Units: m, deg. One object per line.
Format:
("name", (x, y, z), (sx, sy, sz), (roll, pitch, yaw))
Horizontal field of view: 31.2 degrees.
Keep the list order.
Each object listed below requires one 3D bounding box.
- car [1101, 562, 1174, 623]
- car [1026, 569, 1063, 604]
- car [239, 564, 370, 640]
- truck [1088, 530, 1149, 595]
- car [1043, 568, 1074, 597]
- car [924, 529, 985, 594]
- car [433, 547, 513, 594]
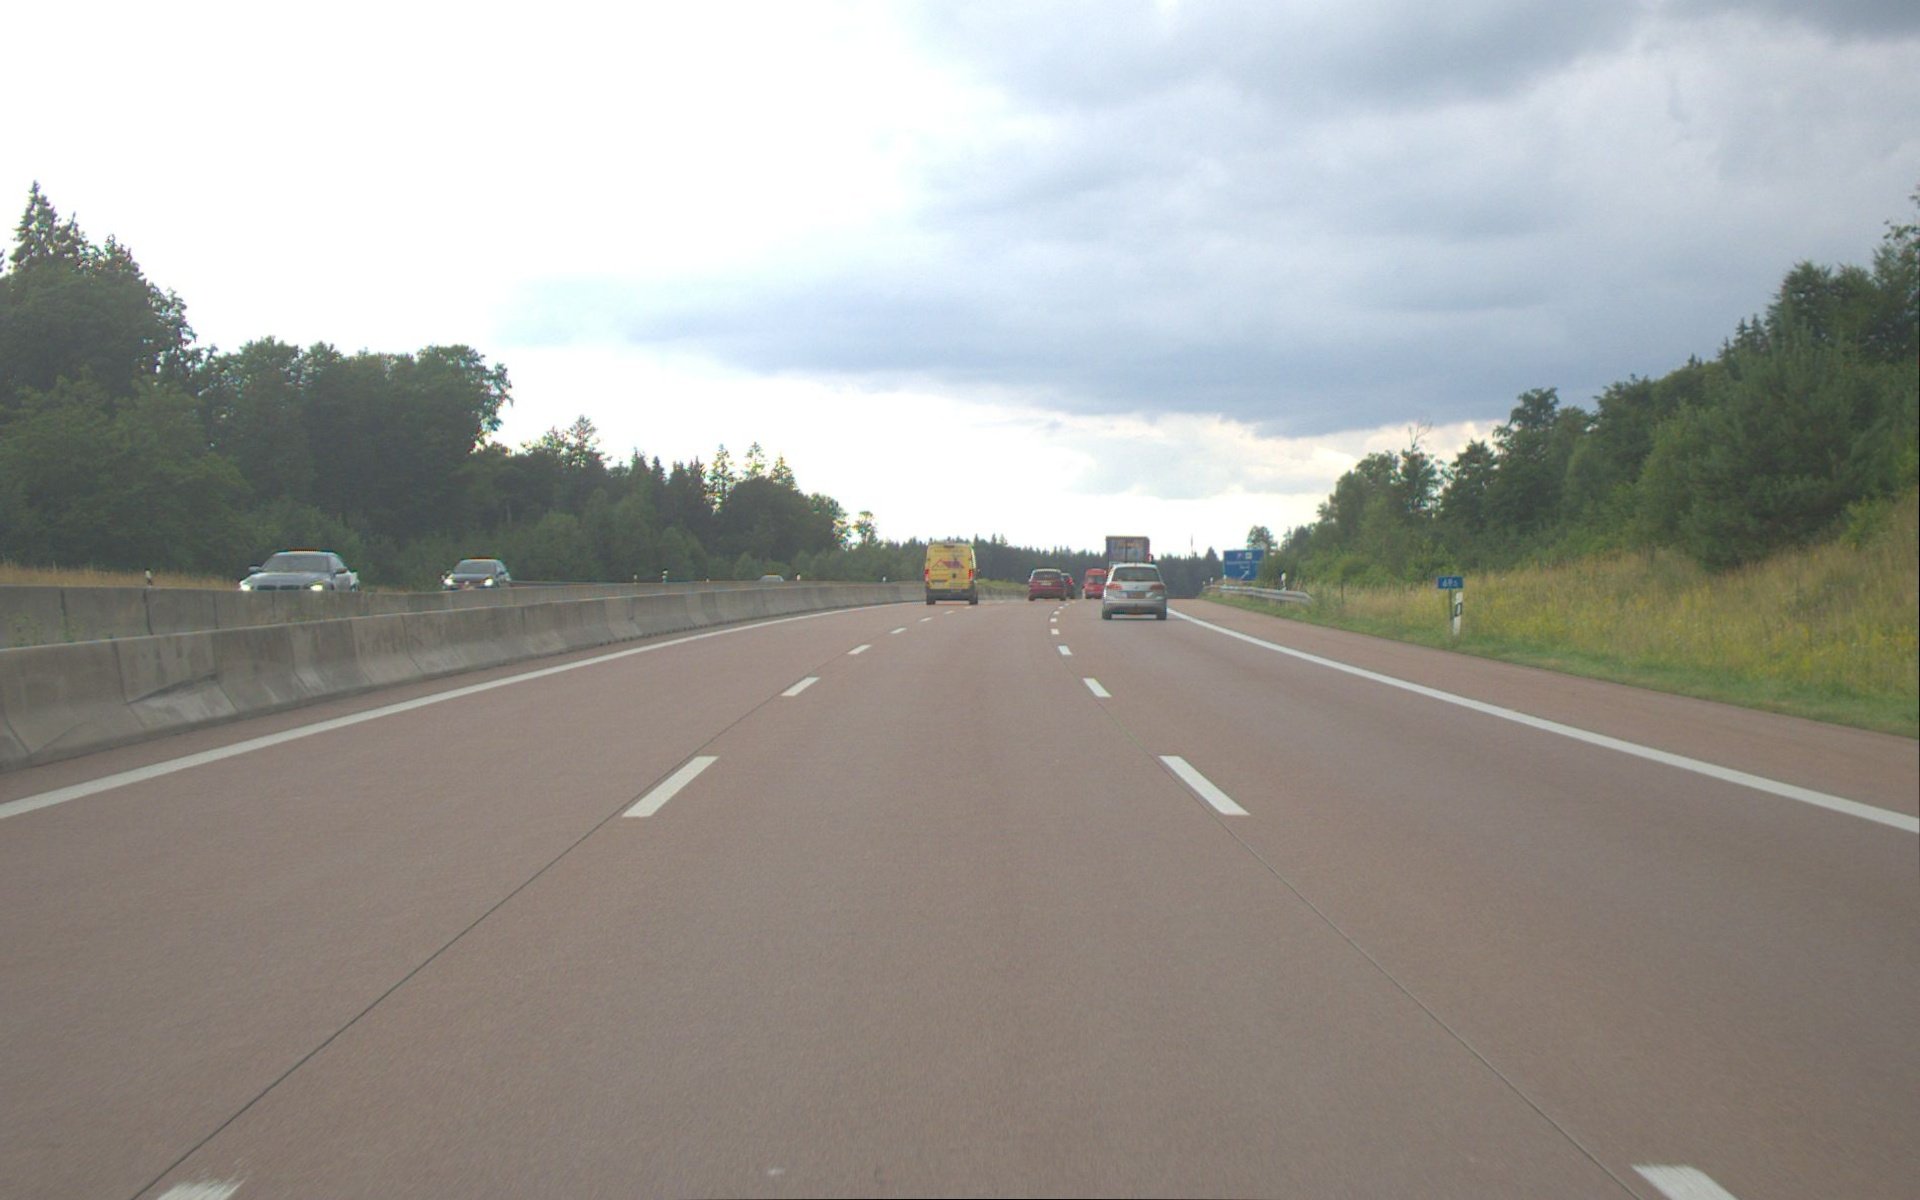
("car", (4.978, -0.230, 96.521), (1.978, 1.642, 4.619), (1, 1, 3))
("car", (4.372, -0.689, 177.768), (1.887, 1.758, 4.782), (0, 0, 2))
("car", (-13.785, 0.053, 72.506), (1.732, 1.520, 4.244), (1, 0, 3))
("truck", (10.188, -2.364, 222.143), (3.680, 3.899, 12.815), (1, 0, 2))
("car", (6.194, -1.092, 215.486), (1.887, 1.758, 4.997), (0, 0, 2))
("car", (-0.211, -1.624, 145.655), (2.458, 2.697, 5.613), (0, 0, 1))
("car", (-16.595, -0.993, 117.382), (1.930, 1.483, 4.423), (1, 0, 2))
